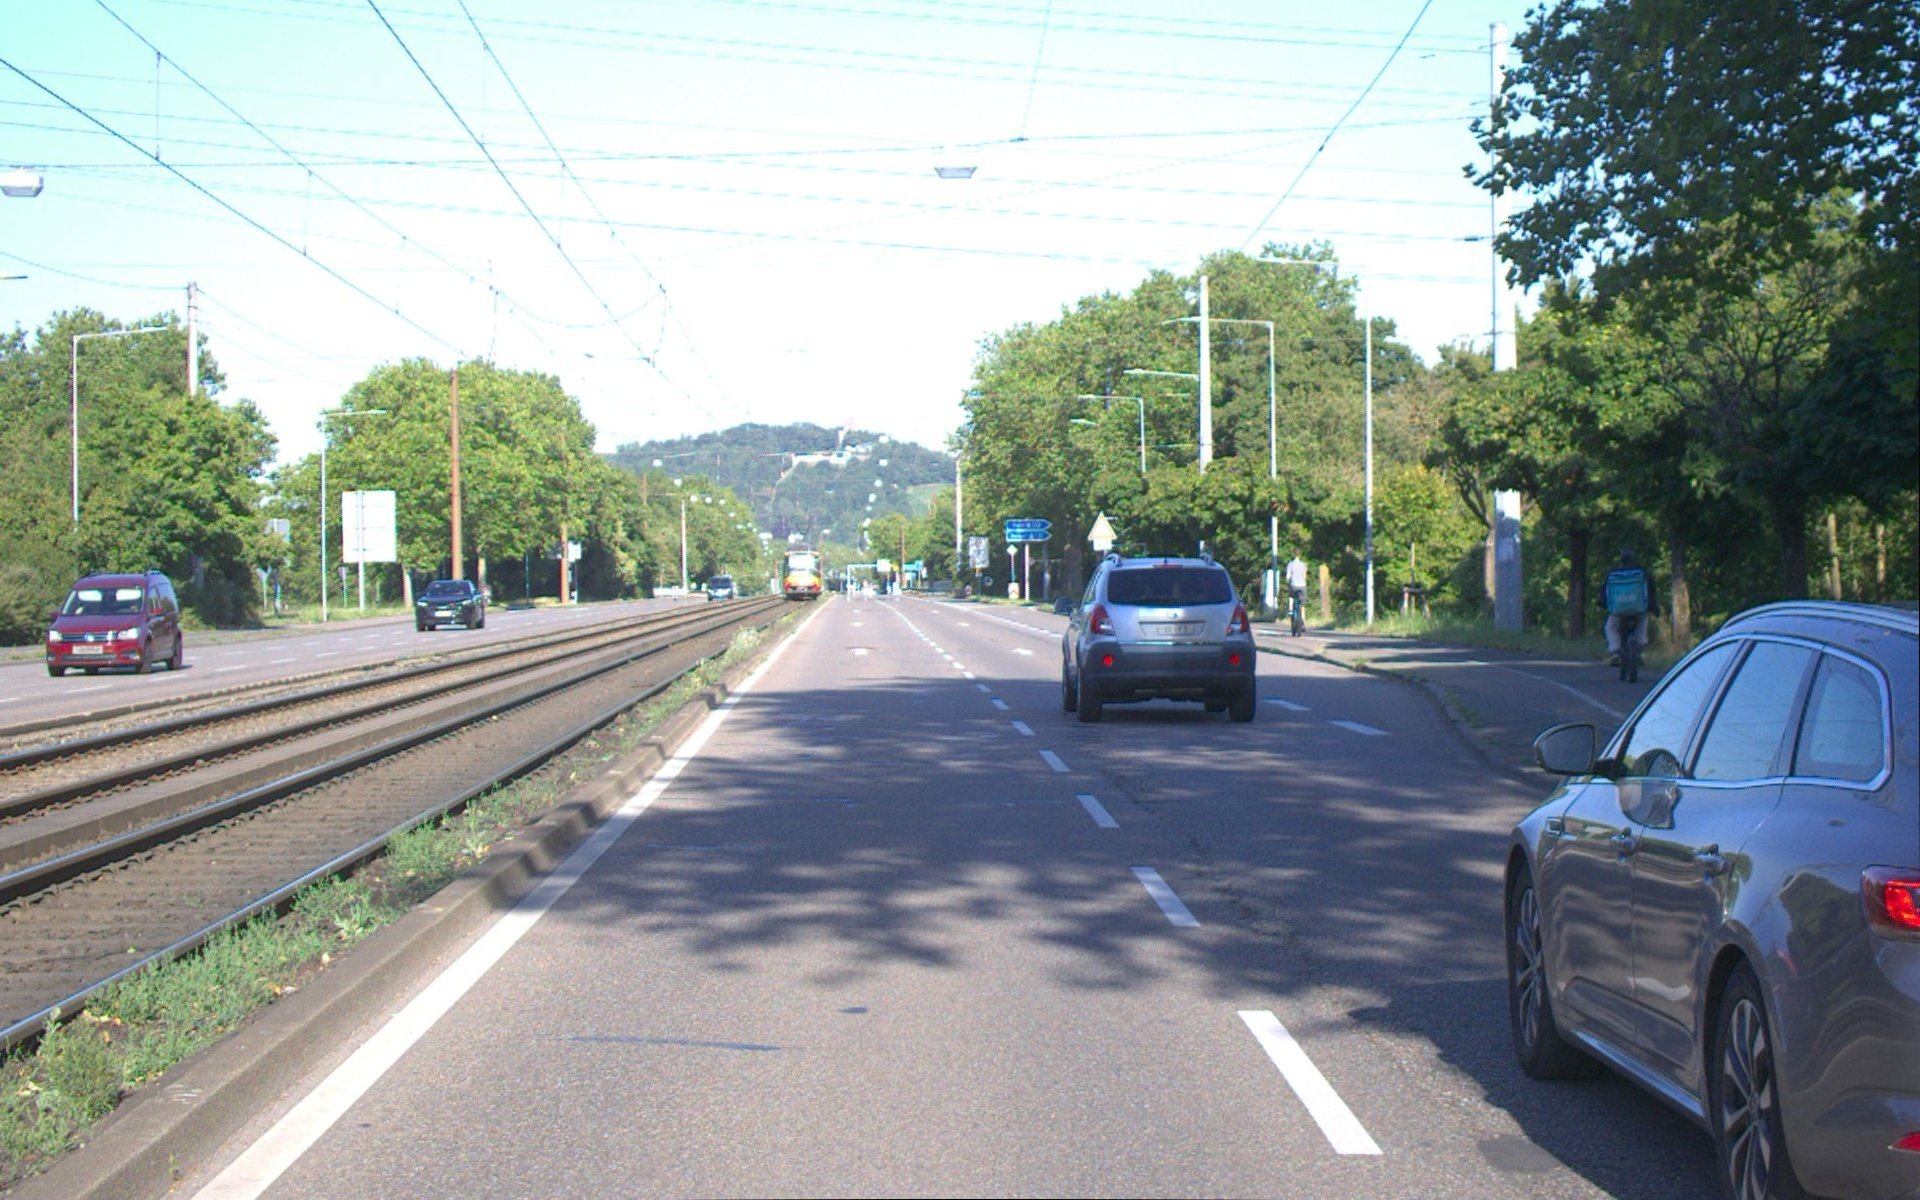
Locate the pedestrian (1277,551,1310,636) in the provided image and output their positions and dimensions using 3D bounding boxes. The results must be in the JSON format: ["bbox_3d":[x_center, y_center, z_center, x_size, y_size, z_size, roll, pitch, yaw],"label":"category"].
[{"bbox_3d":[7.454,-0.150,76.914,0.626,1.865,0.624,1,2,-1],"label":"pedestrian"}]

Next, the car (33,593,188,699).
[{"bbox_3d":[-15.333,0.810,62.236,1.862,1.714,4.001,-1,2,-1],"label":"car"}]

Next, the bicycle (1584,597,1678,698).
[{"bbox_3d":[8.065,0.558,41.384,0.795,1.090,1.894,-3,2,3],"label":"bicycle"}]

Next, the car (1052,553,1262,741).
[{"bbox_3d":[2.042,0.447,36.688,1.883,1.789,4.001,1,2,-1],"label":"car"}]

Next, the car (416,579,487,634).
[{"bbox_3d":[-16.716,0.210,113.176,1.905,1.638,4.001,1,2,-3],"label":"car"}]

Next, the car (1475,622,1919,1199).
[{"bbox_3d":[2.588,0.804,8.681,1.866,1.462,4.666,-1,0,0],"label":"car"}]

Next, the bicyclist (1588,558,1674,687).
[{"bbox_3d":[8.047,0.261,41.264,0.795,1.455,1.112,-3,2,3],"label":"bicyclist"}]
